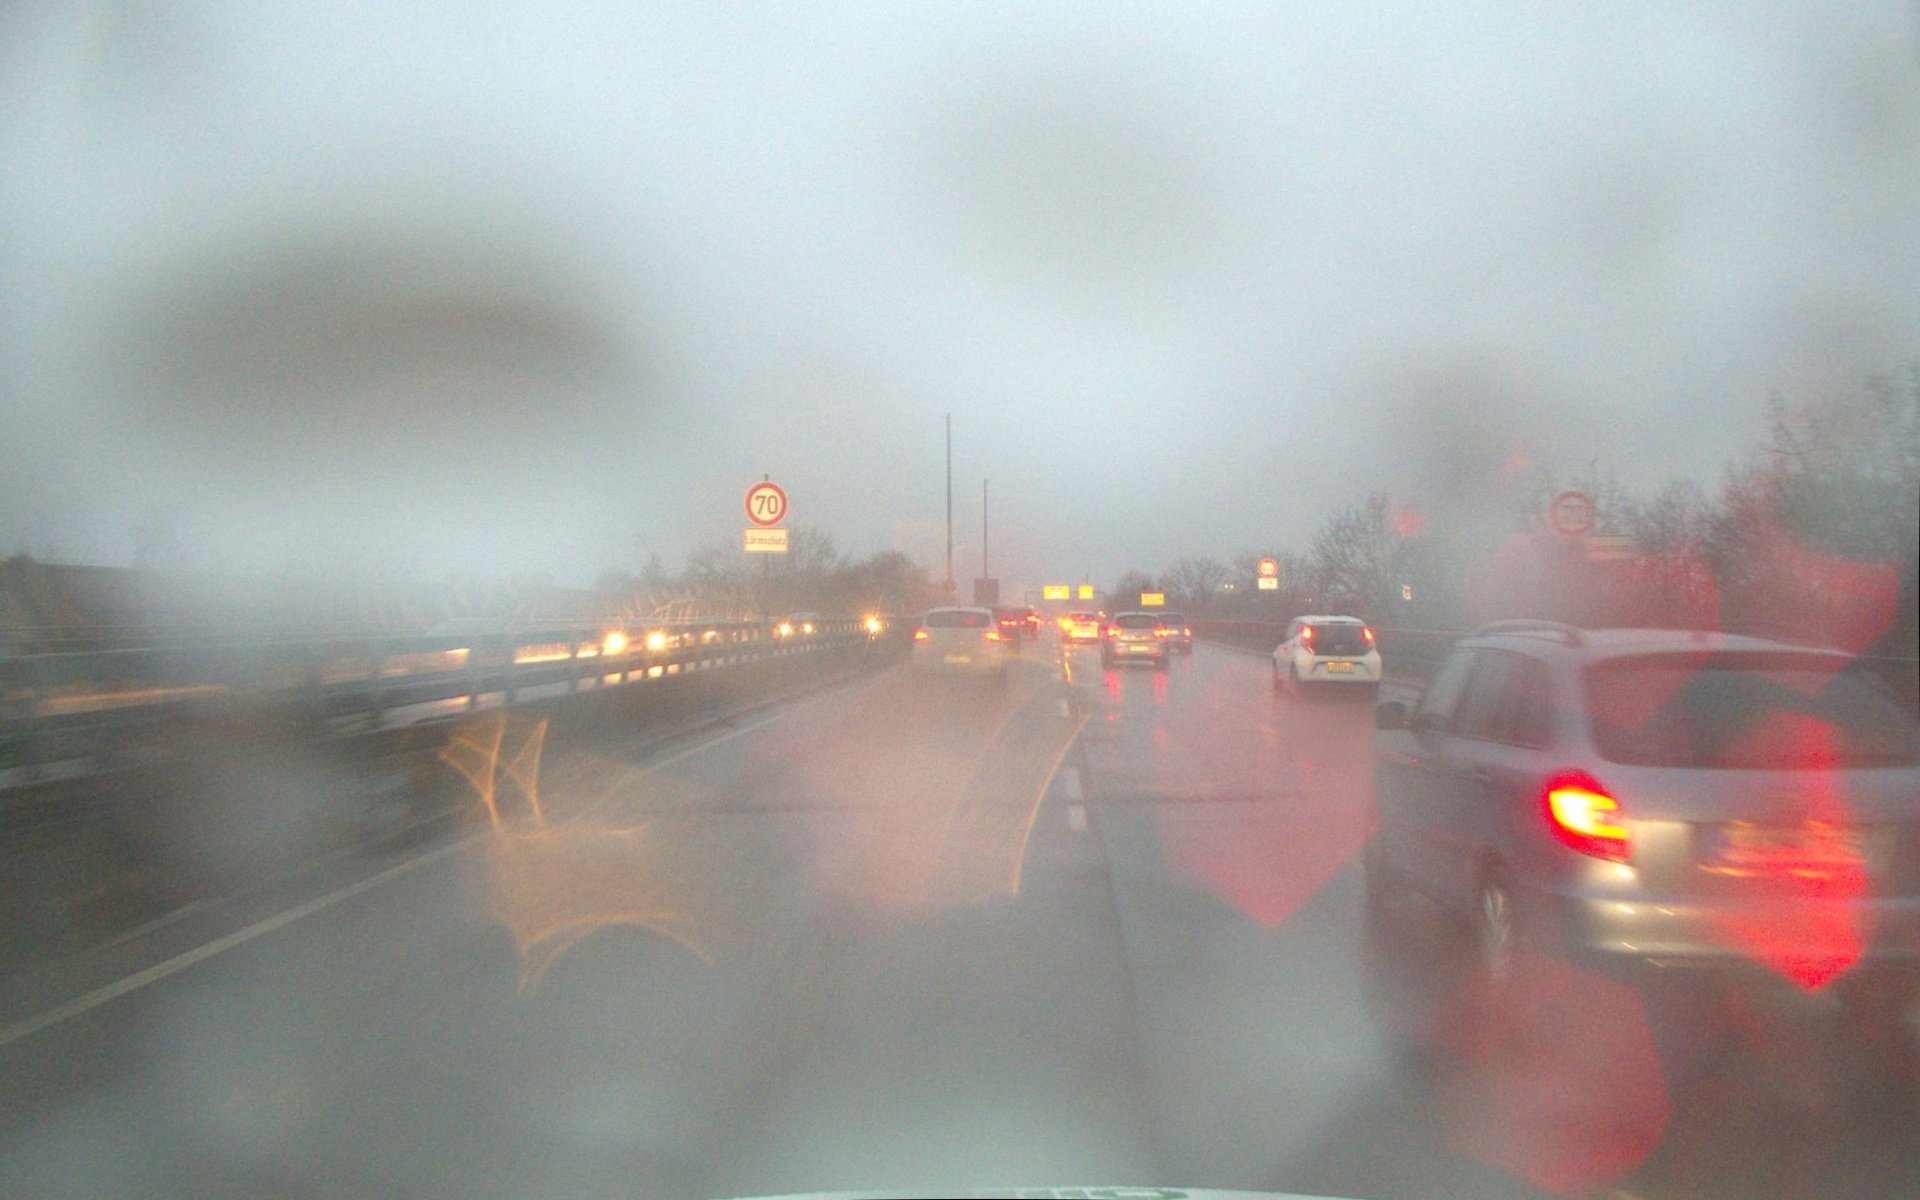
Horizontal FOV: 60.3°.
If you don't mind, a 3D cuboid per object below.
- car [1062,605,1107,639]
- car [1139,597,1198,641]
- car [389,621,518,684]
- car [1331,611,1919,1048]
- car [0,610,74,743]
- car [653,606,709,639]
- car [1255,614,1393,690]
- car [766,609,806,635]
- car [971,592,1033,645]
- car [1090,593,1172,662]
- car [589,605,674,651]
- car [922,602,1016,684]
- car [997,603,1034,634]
[{"bbox_3d":[5.871,1.003,78.354,1.753,1.572,3.999,0,0,-1],"label":"car"},{"bbox_3d":[7.726,0.693,61.614,1.752,1.572,4.000,-1,0,1],"label":"car"},{"bbox_3d":[-13.118,1.329,43.098,1.855,1.490,4.460,-1,0,2],"label":"car"},{"bbox_3d":[3.108,0.822,7.873,1.952,1.527,4.139,0,-1,3],"label":"car"},{"bbox_3d":[-12.394,0.922,19.020,1.749,1.592,4.851,0,0,1],"label":"car"},{"bbox_3d":[-13.099,1.031,77.811,1.855,1.490,4.000,-1,0,1],"label":"car"},{"bbox_3d":[7.042,0.970,32.388,1.952,1.369,4.001,0,0,2],"label":"car"},{"bbox_3d":[-10.164,1.274,96.697,1.855,1.490,4.000,-1,0,1],"label":"car"},{"bbox_3d":[1.417,0.588,54.826,1.952,1.629,4.310,1,0,2],"label":"car"},{"bbox_3d":[4.699,0.743,45.971,1.858,1.798,4.308,1,0,1],"label":"car"},{"bbox_3d":[-11.380,0.951,57.553,1.855,1.490,4.830,-1,0,2],"label":"car"},{"bbox_3d":[0.130,0.805,32.192,1.689,1.465,4.225,1,-1,-1],"label":"car"},{"bbox_3d":[2.963,0.978,89.024,1.753,1.572,3.999,1,0,-1],"label":"car"}]
